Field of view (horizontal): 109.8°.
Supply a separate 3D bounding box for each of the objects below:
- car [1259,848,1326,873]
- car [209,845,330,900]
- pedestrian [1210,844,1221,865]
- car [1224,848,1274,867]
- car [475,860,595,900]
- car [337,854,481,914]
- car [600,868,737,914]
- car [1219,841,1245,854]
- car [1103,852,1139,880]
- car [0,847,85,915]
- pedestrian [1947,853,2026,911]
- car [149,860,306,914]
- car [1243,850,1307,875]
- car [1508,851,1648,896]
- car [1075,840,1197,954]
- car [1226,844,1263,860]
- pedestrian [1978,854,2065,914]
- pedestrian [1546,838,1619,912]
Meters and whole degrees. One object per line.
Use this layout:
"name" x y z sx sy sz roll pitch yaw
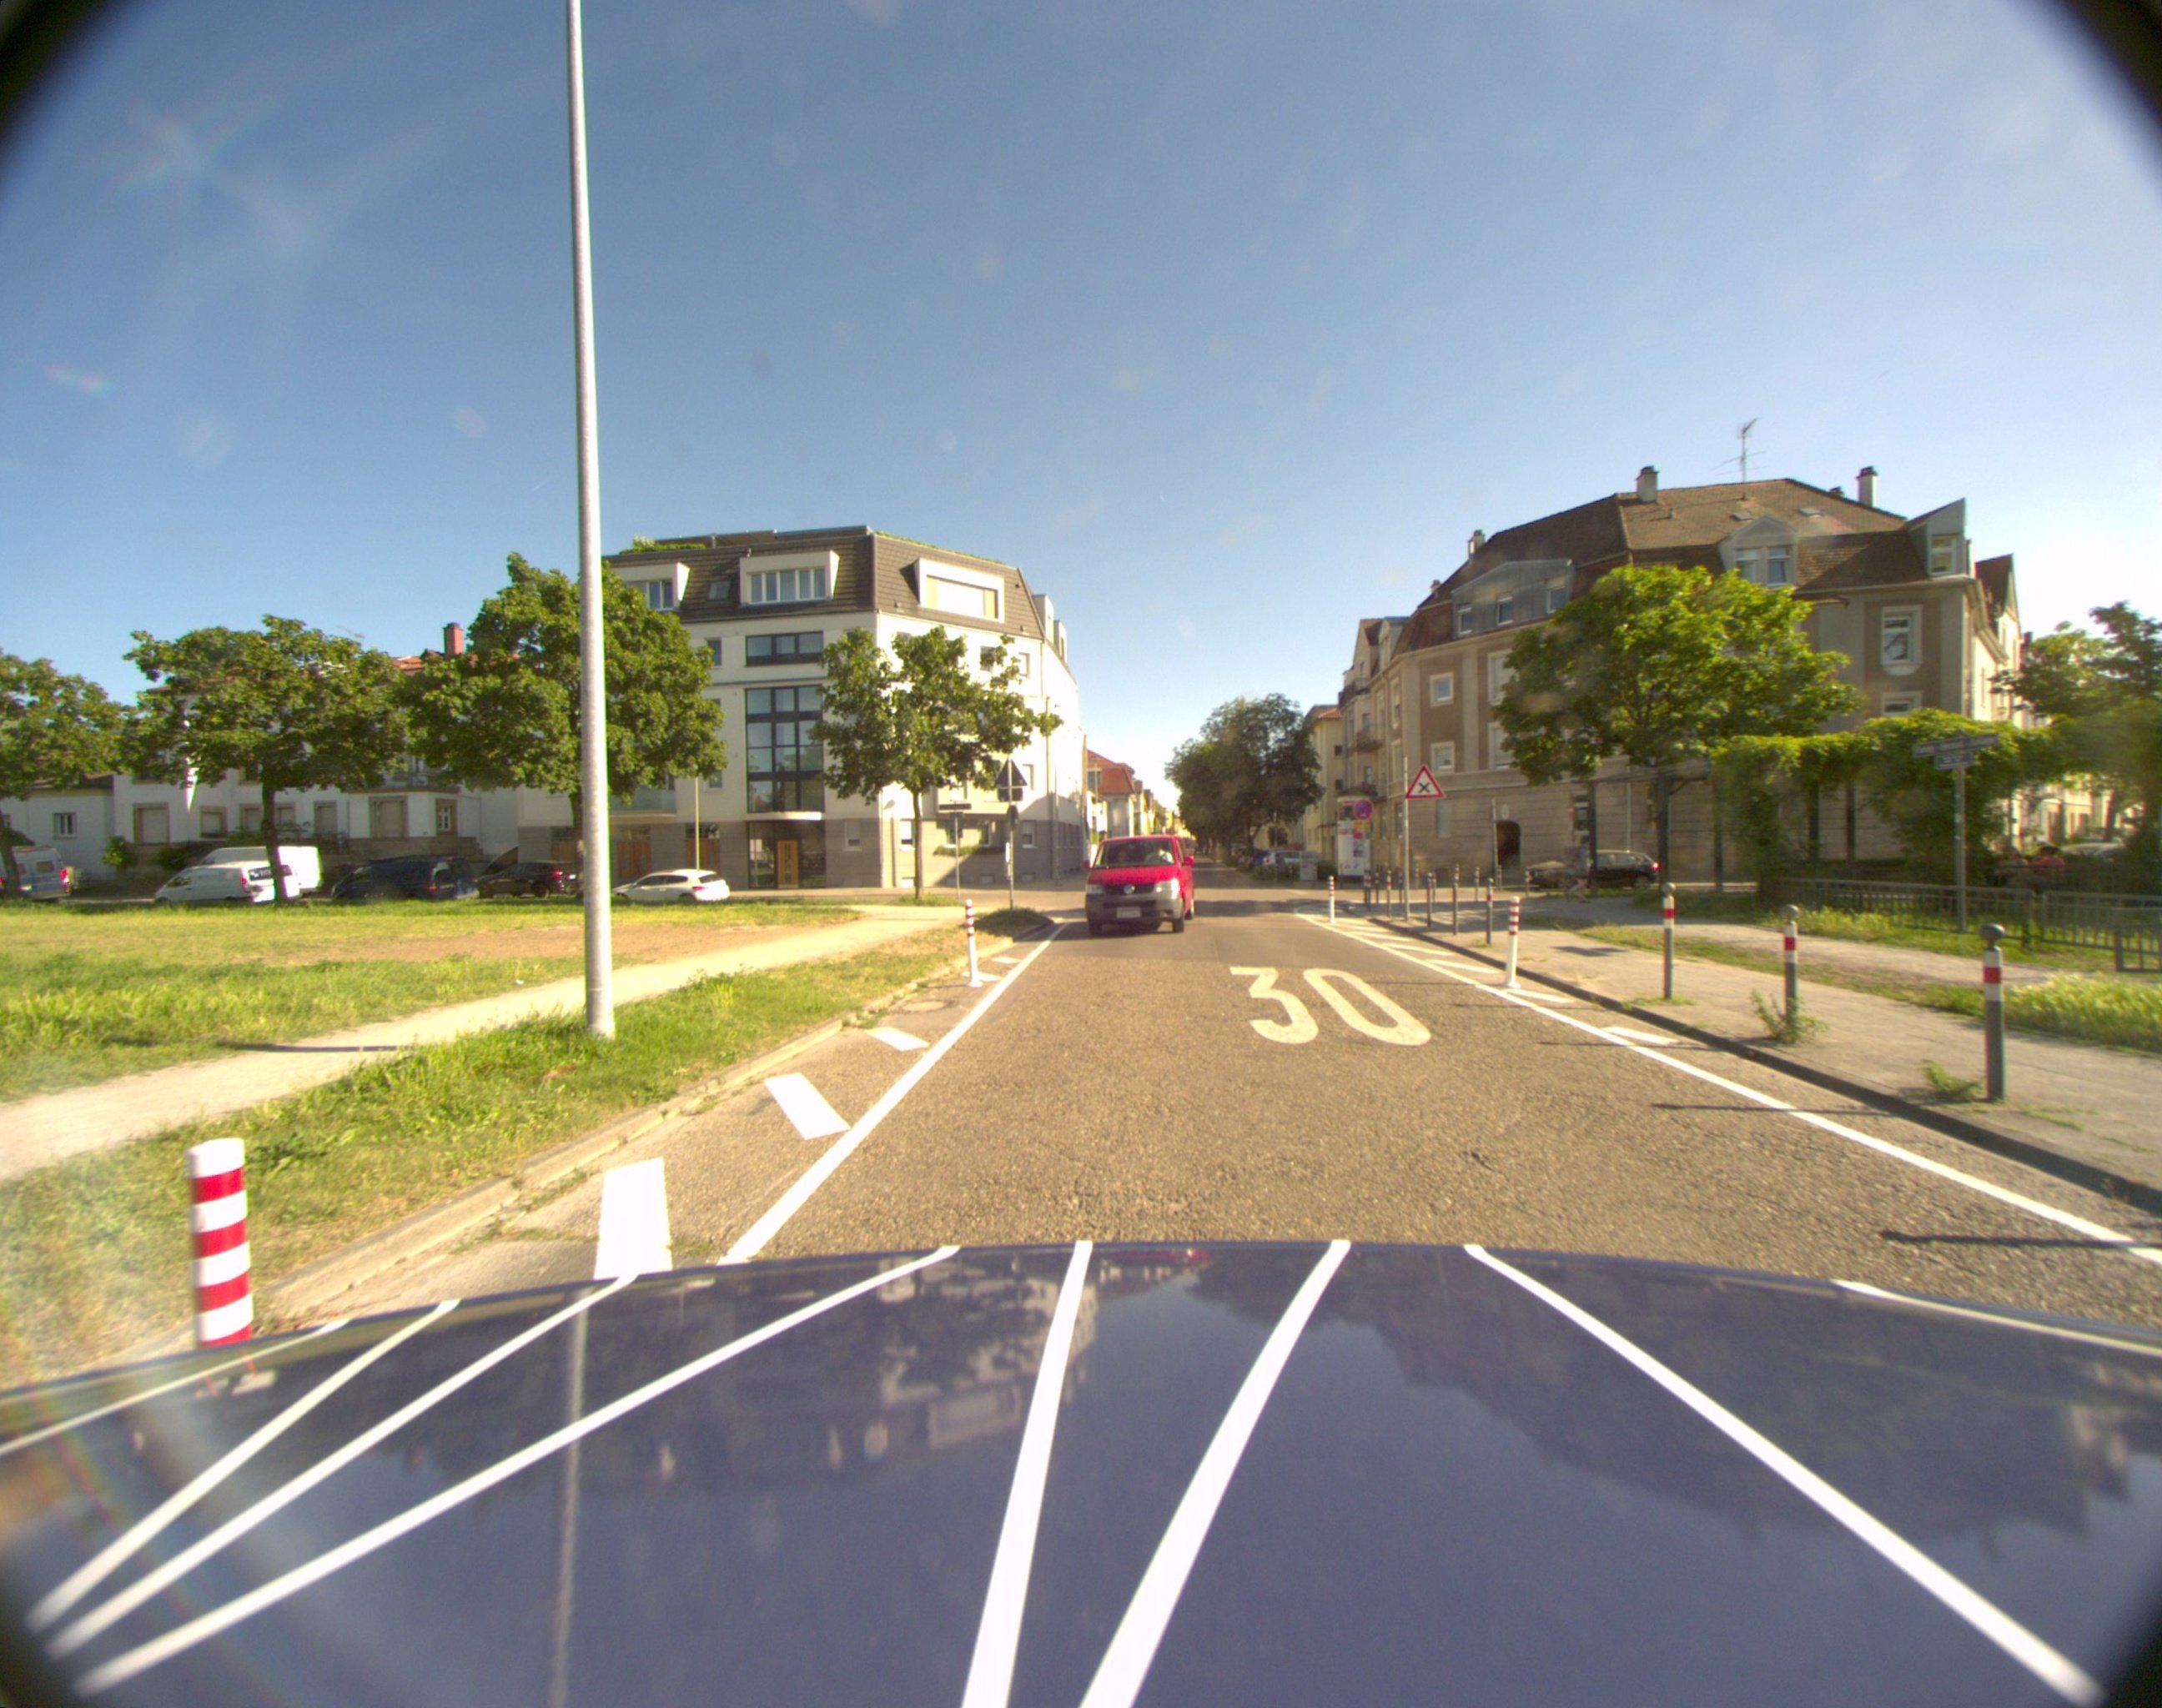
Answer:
"car" 13.125 0.412 47.338 3.787 1.436 1.693 -2 1 5
"car" -39.373 0.889 36.931 3.988 2.534 2.024 -1 2 9
"pedestrian" 13.222 0.058 74.722 1.022 2.002 1.071 0 1 7
"car" 14.092 0.294 63.906 3.790 1.486 1.691 -2 1 -5
"car" -24.973 1.180 34.828 4.282 1.673 1.897 -1 2 9
"car" -25.384 1.114 28.759 3.988 2.073 1.784 -1 5 9
"car" -14.837 1.306 27.415 3.988 1.426 1.739 -1 5 8
"car" 22.180 -0.938 111.675 3.526 1.693 1.693 -2 1 6
"car" 2.287 0.641 42.743 1.664 1.440 3.690 2 1 8
"car" -45.024 1.107 31.708 4.281 2.571 2.193 -1 5 9
"pedestrian" 18.275 0.559 15.349 0.845 1.143 0.599 -1 1 9
"car" -33.573 1.291 29.934 4.417 1.874 1.876 -1 5 9
"car" 12.629 0.536 49.614 3.787 1.486 1.693 -2 1 5
"car" 18.686 0.721 28.742 4.010 1.476 1.867 -1 4 5
"car" 1.354 0.742 16.224 1.893 1.950 4.889 0 2 12
"car" 17.063 -0.217 79.488 3.527 1.486 1.692 -2 1 3
"pedestrian" 18.156 0.564 14.678 0.874 1.132 0.599 -1 1 9
"pedestrian" 12.146 0.495 18.433 1.090 1.665 0.913 -4 1 -10
